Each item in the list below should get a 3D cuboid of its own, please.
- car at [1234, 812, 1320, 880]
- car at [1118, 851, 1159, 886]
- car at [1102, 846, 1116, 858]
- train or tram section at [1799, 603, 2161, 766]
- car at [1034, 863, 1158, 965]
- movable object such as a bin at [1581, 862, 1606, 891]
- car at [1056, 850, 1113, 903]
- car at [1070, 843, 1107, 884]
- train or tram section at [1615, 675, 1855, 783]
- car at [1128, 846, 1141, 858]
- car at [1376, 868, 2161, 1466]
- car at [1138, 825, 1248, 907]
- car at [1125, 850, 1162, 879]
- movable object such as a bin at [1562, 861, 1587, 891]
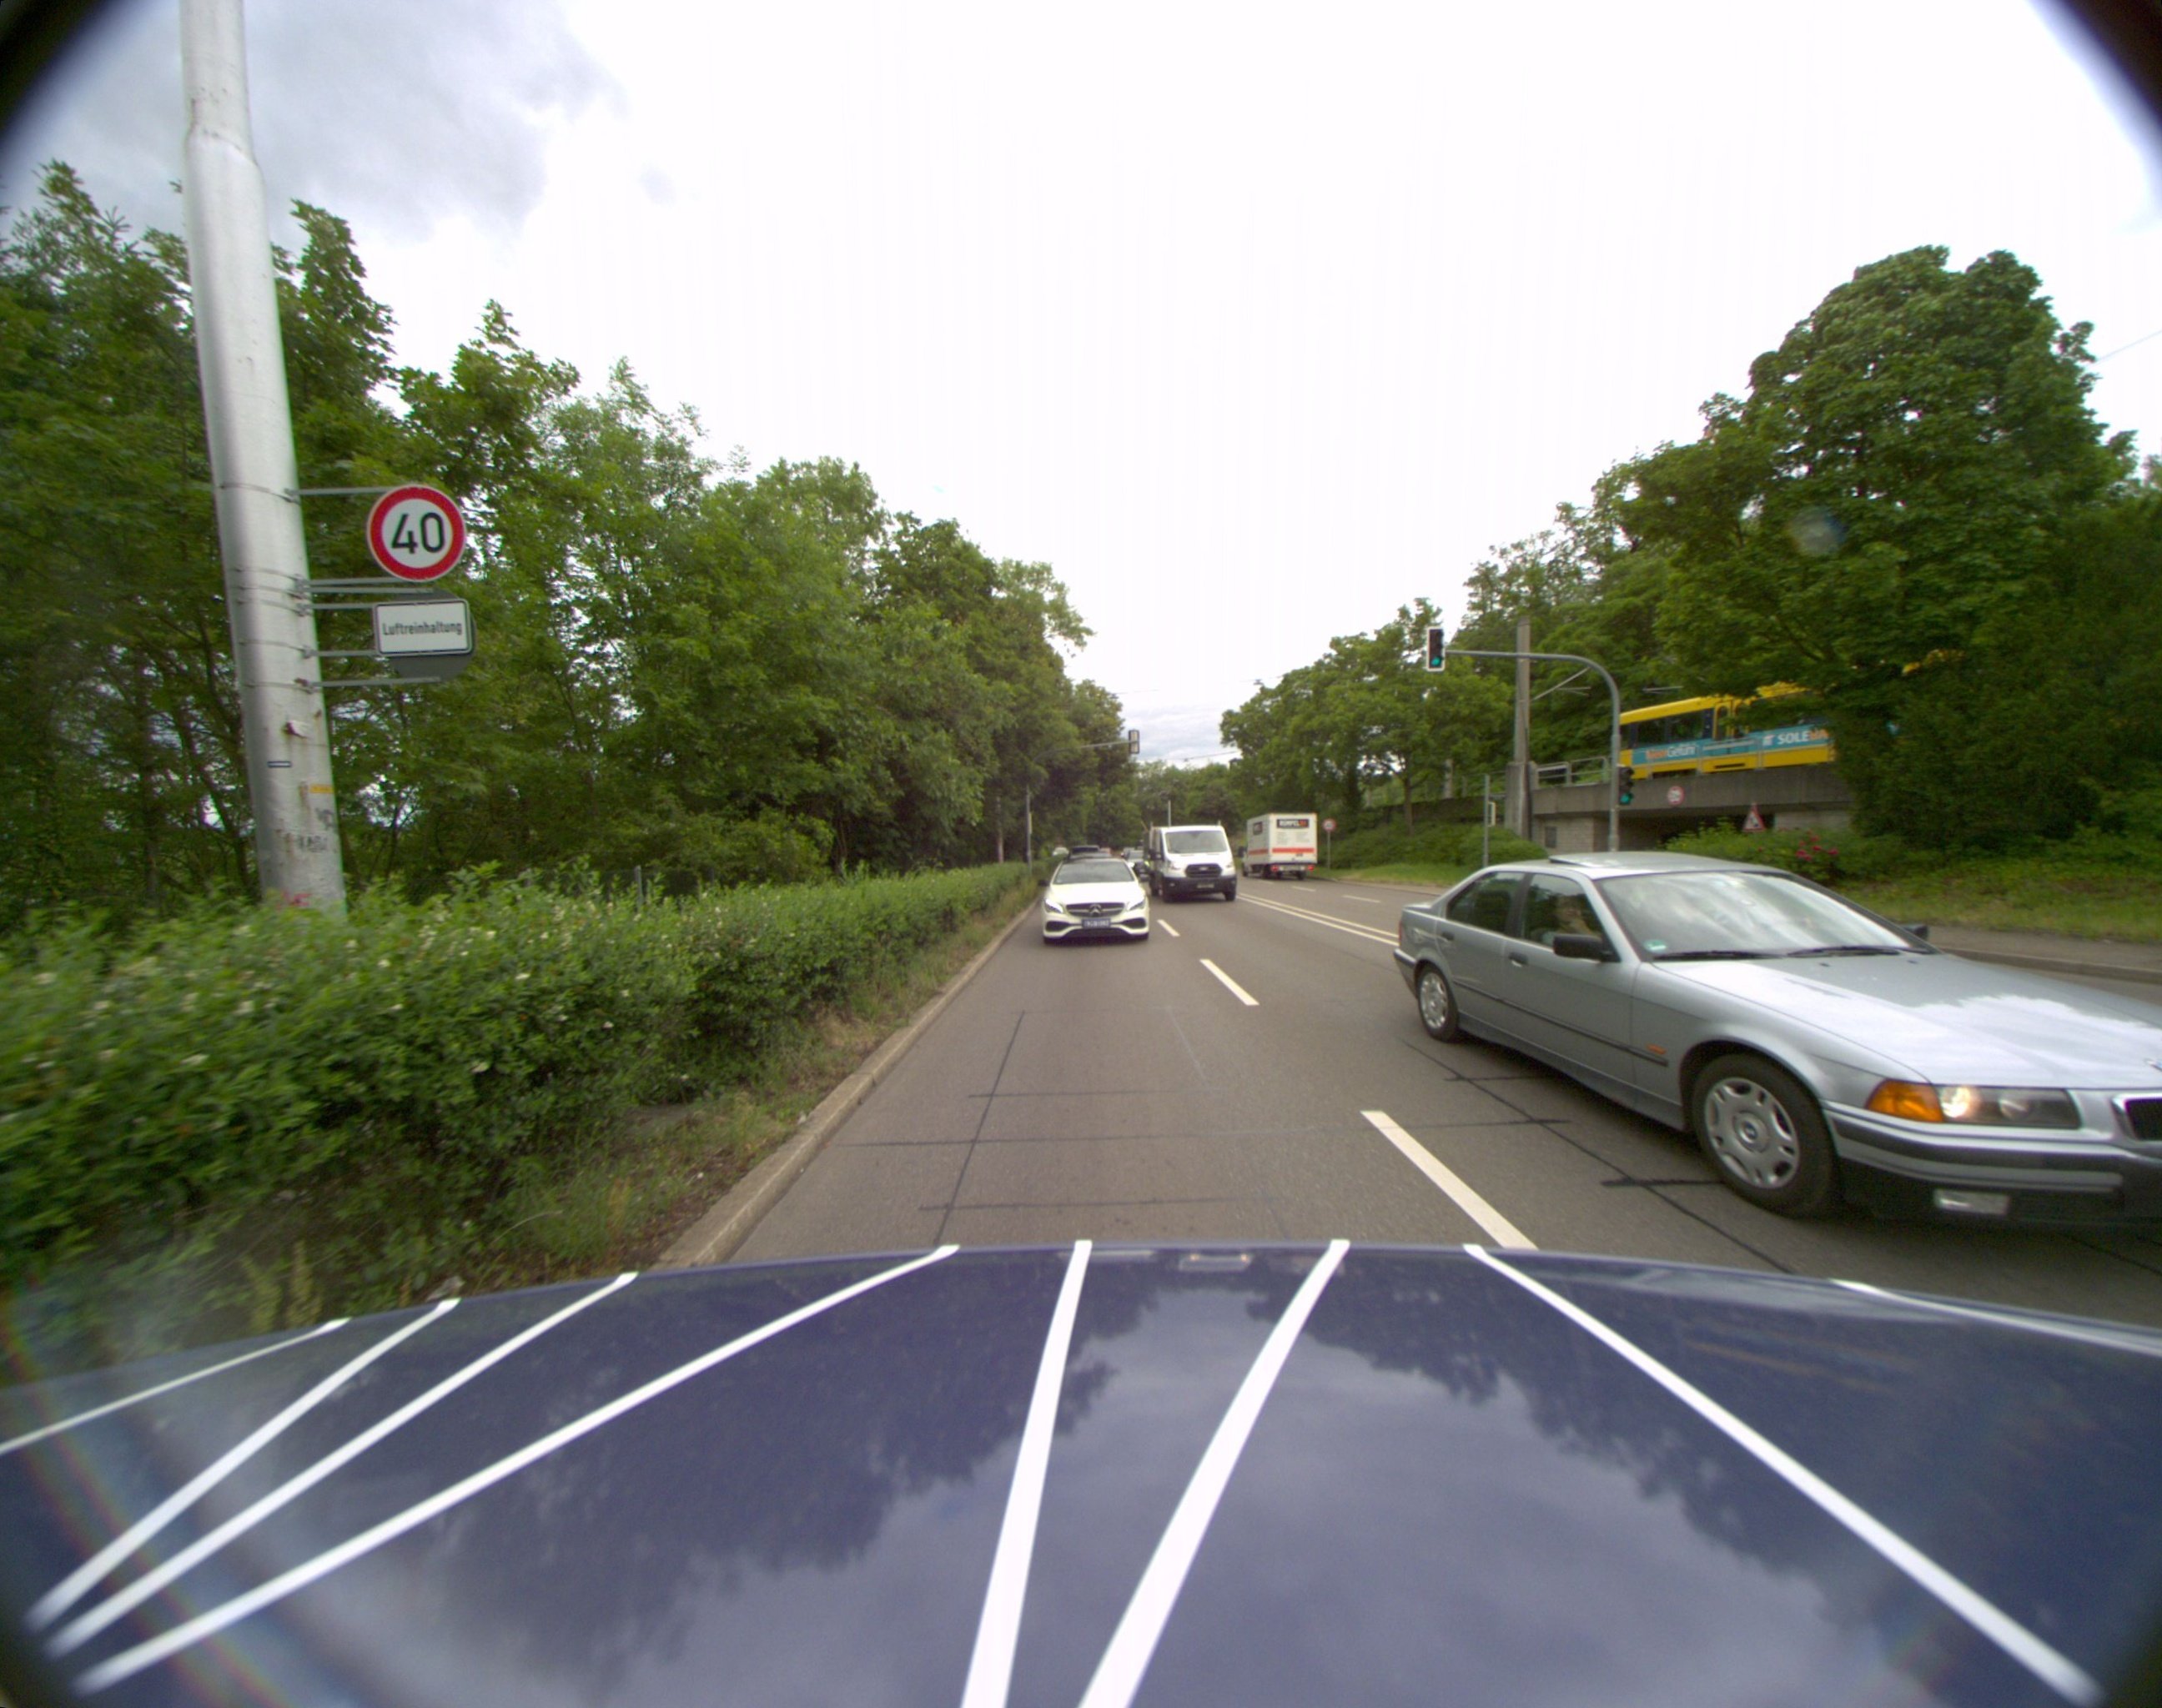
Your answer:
[{"bbox_3d":[9.708,-0.416,38.456,2.276,3.038,7.234,-2,1,-1],"label":"car"},{"bbox_3d":[2.719,0.641,36.824,1.677,1.532,4.553,-1,1,1],"label":"car"},{"bbox_3d":[3.860,-0.302,105.838,1.677,1.532,4.616,-1,1,5],"label":"car"},{"bbox_3d":[25.728,-4.470,21.866,2.063,3.026,8.147,-3,2,-4],"label":"train or tram section"},{"bbox_3d":[0.230,0.919,13.395,1.807,1.385,4.283,-1,1,0],"label":"car"},{"bbox_3d":[19.417,0.832,28.818,0.544,1.070,0.563,1,1,-1],"label":"movable object such as a bin"},{"bbox_3d":[0.079,0.663,25.091,1.678,1.532,4.614,-1,1,-1],"label":"car"},{"bbox_3d":[0.325,0.478,40.595,1.826,2.059,4.614,-1,0,-1],"label":"car"},{"bbox_3d":[25.215,-4.660,30.029,2.063,3.026,8.147,-3,2,-4],"label":"train or tram section"},{"bbox_3d":[7.442,-0.278,104.987,1.677,1.532,4.616,-1,1,5],"label":"car"},{"bbox_3d":[3.427,0.855,4.263,1.757,1.385,4.614,-1,1,0],"label":"car"},{"bbox_3d":[3.234,0.280,23.526,2.253,2.114,6.668,-2,1,-1],"label":"car"},{"bbox_3d":[3.540,0.570,43.879,1.678,1.532,4.614,-1,0,-1],"label":"car"},{"bbox_3d":[18.697,0.823,28.797,0.544,1.092,0.563,1,1,-1],"label":"movable object such as a bin"}]
